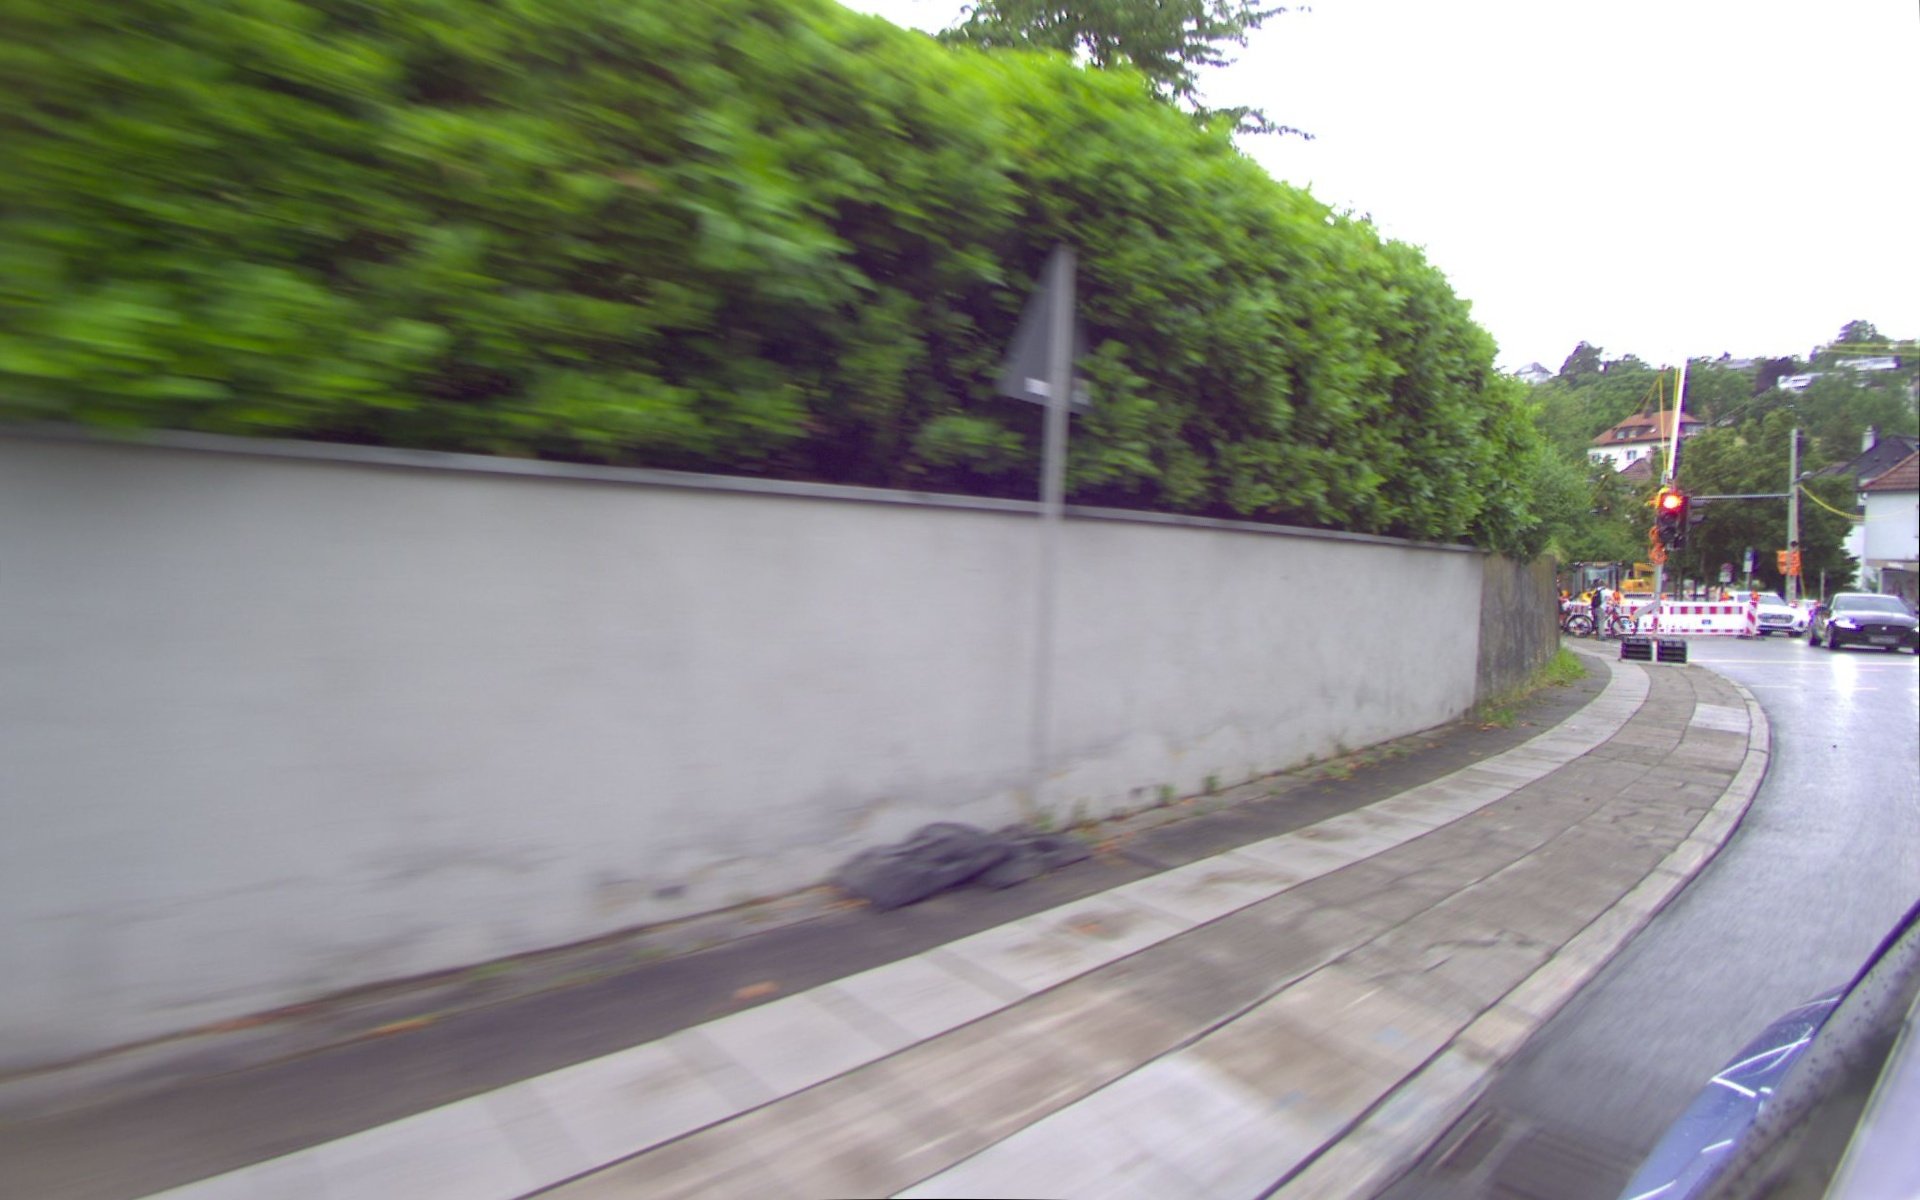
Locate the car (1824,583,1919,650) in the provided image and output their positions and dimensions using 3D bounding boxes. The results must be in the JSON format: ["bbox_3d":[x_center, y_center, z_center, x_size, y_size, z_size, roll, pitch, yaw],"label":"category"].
[{"bbox_3d":[22.717,0.351,24.899,1.834,1.420,4.019,4,4,36],"label":"car"}]

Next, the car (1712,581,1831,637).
[{"bbox_3d":[29.733,0.257,37.263,1.977,1.729,4.545,3,3,20],"label":"car"}]

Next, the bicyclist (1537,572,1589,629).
[{"bbox_3d":[19.087,-0.009,32.042,0.915,1.750,1.078,0,2,-32],"label":"bicyclist"}]

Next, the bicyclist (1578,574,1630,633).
[{"bbox_3d":[19.481,0.087,30.645,1.061,1.750,0.929,1,1,15],"label":"bicyclist"}]

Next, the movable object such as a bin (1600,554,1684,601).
[{"bbox_3d":[60.460,-2.005,89.681,7.061,3.886,3.336,0,3,-31],"label":"movable object such as a bin"}]

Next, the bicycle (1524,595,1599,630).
[{"bbox_3d":[19.059,0.380,32.097,0.915,0.993,1.831,0,2,-32],"label":"bicycle"}]

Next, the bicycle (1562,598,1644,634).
[{"bbox_3d":[19.459,0.477,30.660,1.857,0.993,0.929,1,2,15],"label":"bicycle"}]

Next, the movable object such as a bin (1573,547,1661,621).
[{"bbox_3d":[27.741,-0.805,42.943,2.070,2.872,5.635,2,4,23],"label":"movable object such as a bin"}]

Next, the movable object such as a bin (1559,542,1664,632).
[{"bbox_3d":[22.652,-0.451,35.420,2.070,2.873,5.632,2,1,23],"label":"movable object such as a bin"}]
